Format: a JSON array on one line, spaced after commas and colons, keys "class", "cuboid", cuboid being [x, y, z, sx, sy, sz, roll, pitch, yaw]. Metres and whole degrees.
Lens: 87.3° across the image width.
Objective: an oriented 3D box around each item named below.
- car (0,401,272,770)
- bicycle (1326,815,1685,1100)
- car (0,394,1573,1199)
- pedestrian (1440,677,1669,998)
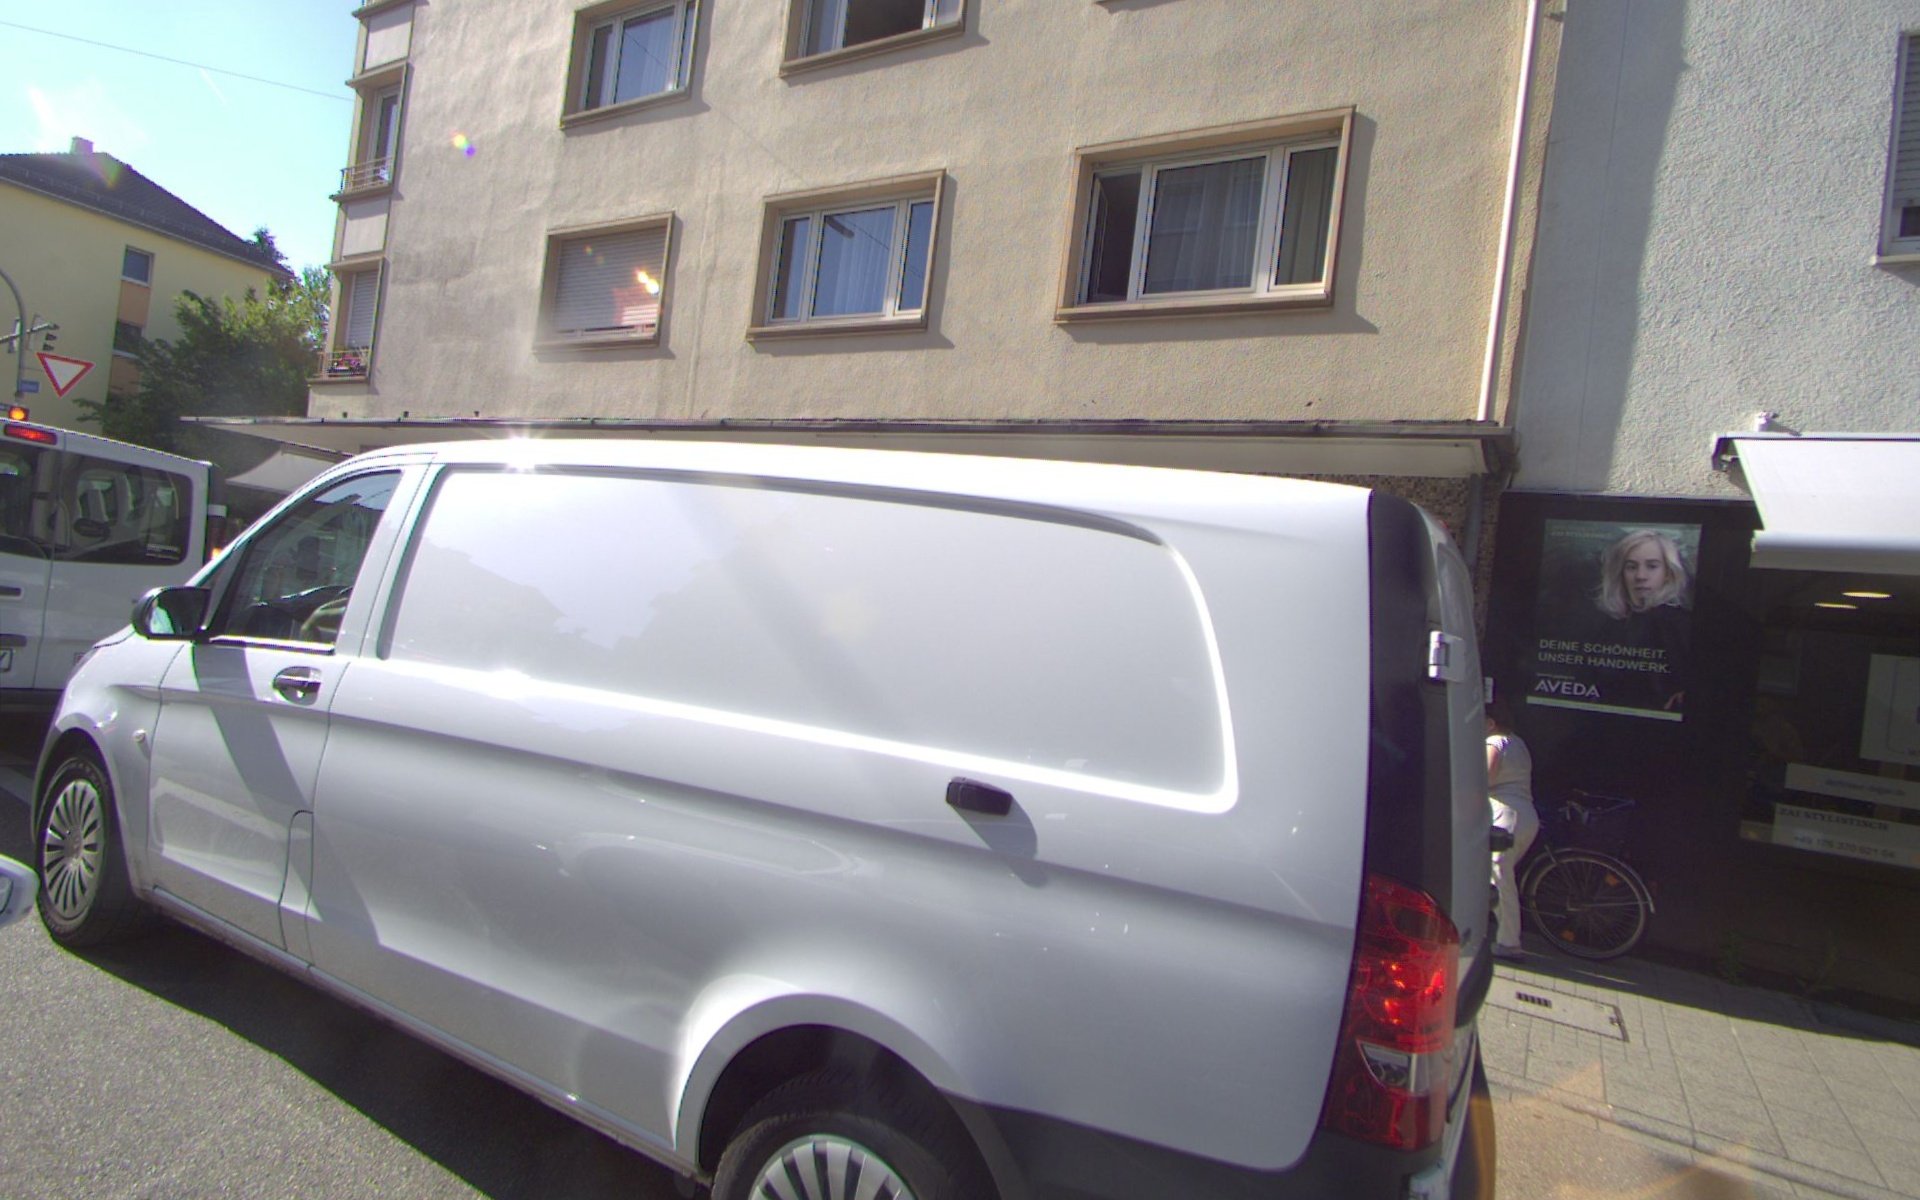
[{"class": "car", "cuboid": [-7.158, -0.274, 6.973, 4.815, 2.001, 1.999, 7, -3, 32]}, {"class": "bicycle", "cuboid": [3.246, 2.092, 6.130, 1.763, 1.148, 0.401, 7, 3, 32]}, {"class": "car", "cuboid": [-1.002, 0.506, 3.314, 4.911, 1.891, 1.840, 7, -1, 30]}, {"class": "pedestrian", "cuboid": [3.460, 1.303, 5.900, 0.931, 1.559, 0.823, 7, 3, 31]}]
